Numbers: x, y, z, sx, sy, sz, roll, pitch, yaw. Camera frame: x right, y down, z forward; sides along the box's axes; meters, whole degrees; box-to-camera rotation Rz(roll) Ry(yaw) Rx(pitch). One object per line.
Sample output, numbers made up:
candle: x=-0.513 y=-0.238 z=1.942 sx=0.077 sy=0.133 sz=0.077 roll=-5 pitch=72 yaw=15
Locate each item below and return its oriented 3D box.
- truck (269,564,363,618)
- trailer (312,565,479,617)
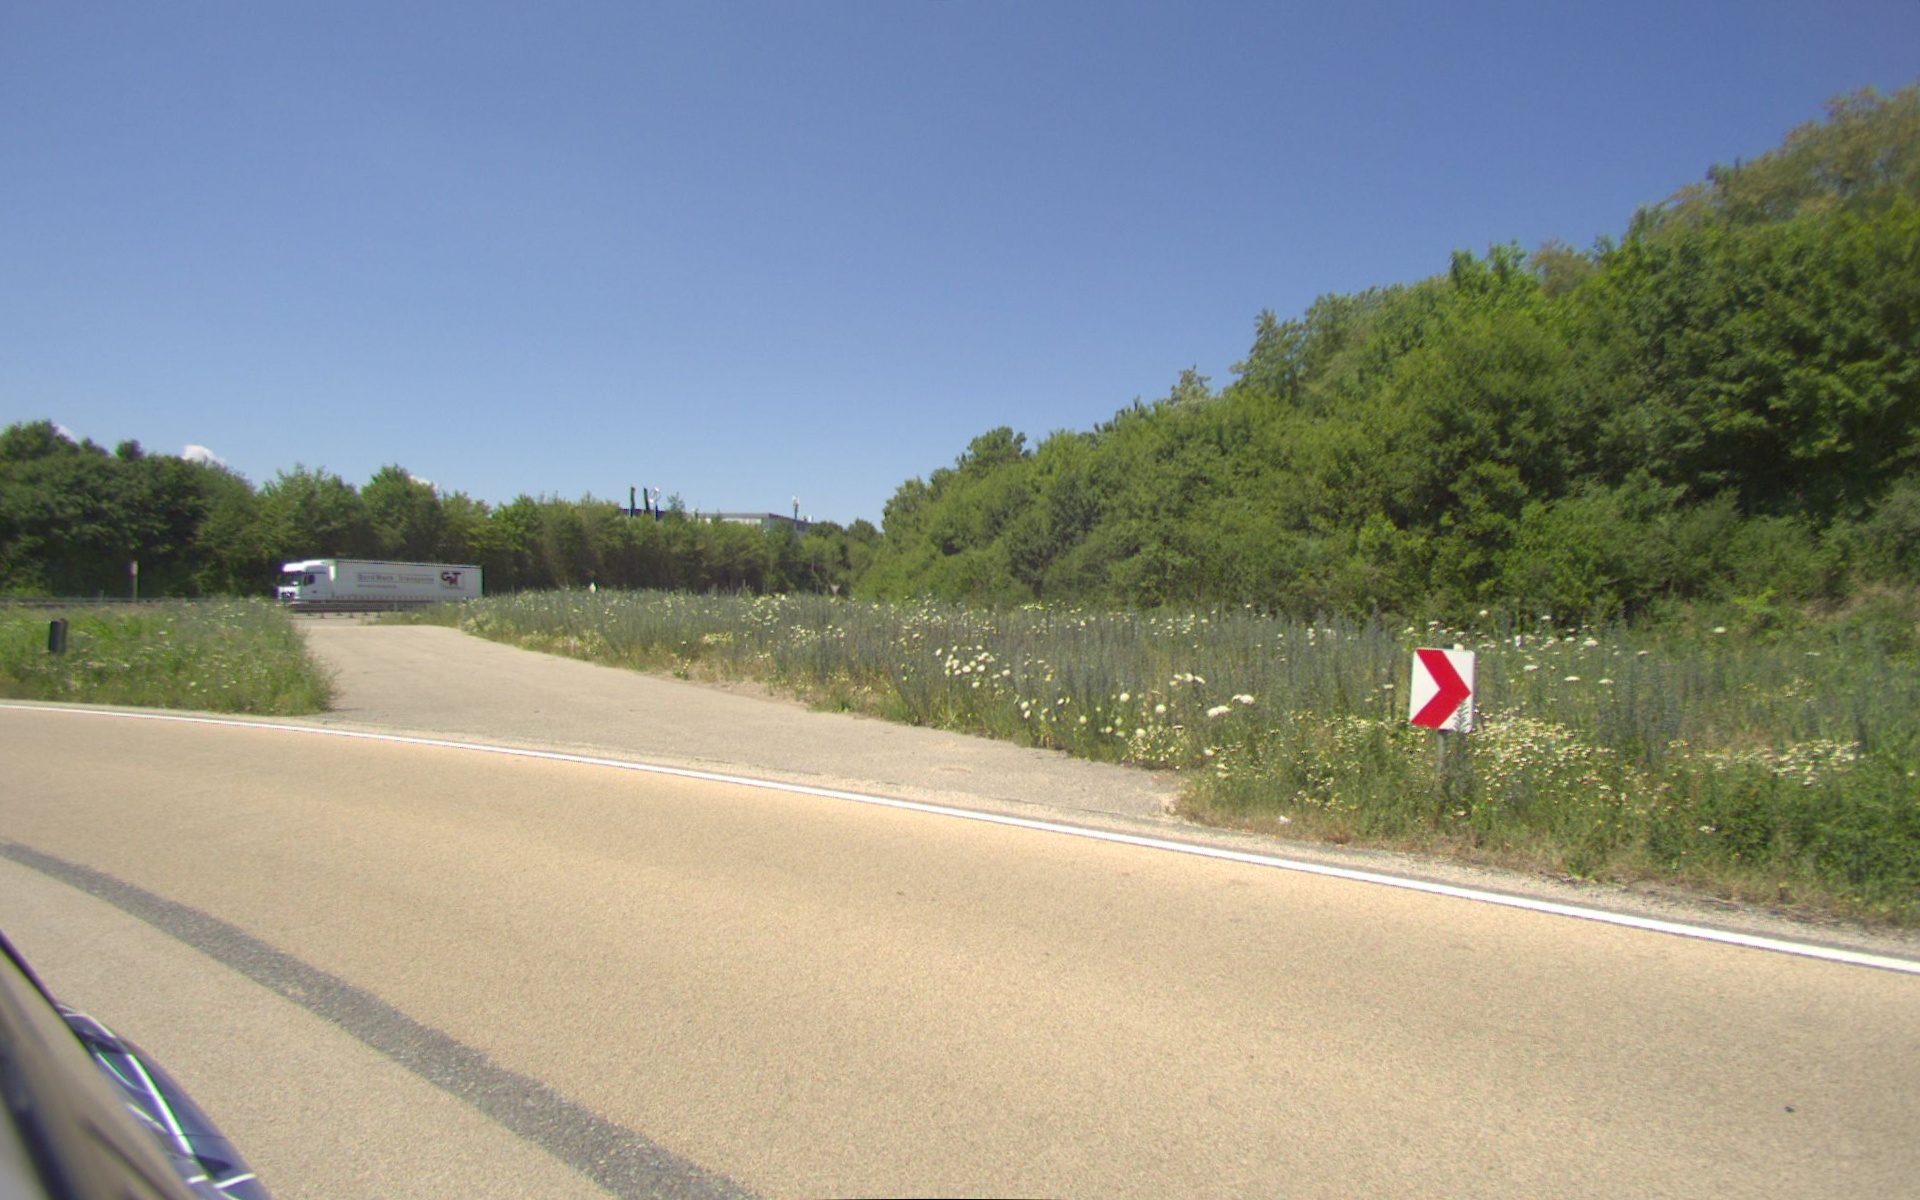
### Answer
truck: x=-49.277 y=-0.683 z=77.566 sx=2.902 sy=3.969 sz=5.377 roll=0 pitch=0 yaw=22
trailer: x=-46.514 y=-0.655 z=84.237 sx=2.902 sy=3.969 sz=13.173 roll=0 pitch=0 yaw=23
